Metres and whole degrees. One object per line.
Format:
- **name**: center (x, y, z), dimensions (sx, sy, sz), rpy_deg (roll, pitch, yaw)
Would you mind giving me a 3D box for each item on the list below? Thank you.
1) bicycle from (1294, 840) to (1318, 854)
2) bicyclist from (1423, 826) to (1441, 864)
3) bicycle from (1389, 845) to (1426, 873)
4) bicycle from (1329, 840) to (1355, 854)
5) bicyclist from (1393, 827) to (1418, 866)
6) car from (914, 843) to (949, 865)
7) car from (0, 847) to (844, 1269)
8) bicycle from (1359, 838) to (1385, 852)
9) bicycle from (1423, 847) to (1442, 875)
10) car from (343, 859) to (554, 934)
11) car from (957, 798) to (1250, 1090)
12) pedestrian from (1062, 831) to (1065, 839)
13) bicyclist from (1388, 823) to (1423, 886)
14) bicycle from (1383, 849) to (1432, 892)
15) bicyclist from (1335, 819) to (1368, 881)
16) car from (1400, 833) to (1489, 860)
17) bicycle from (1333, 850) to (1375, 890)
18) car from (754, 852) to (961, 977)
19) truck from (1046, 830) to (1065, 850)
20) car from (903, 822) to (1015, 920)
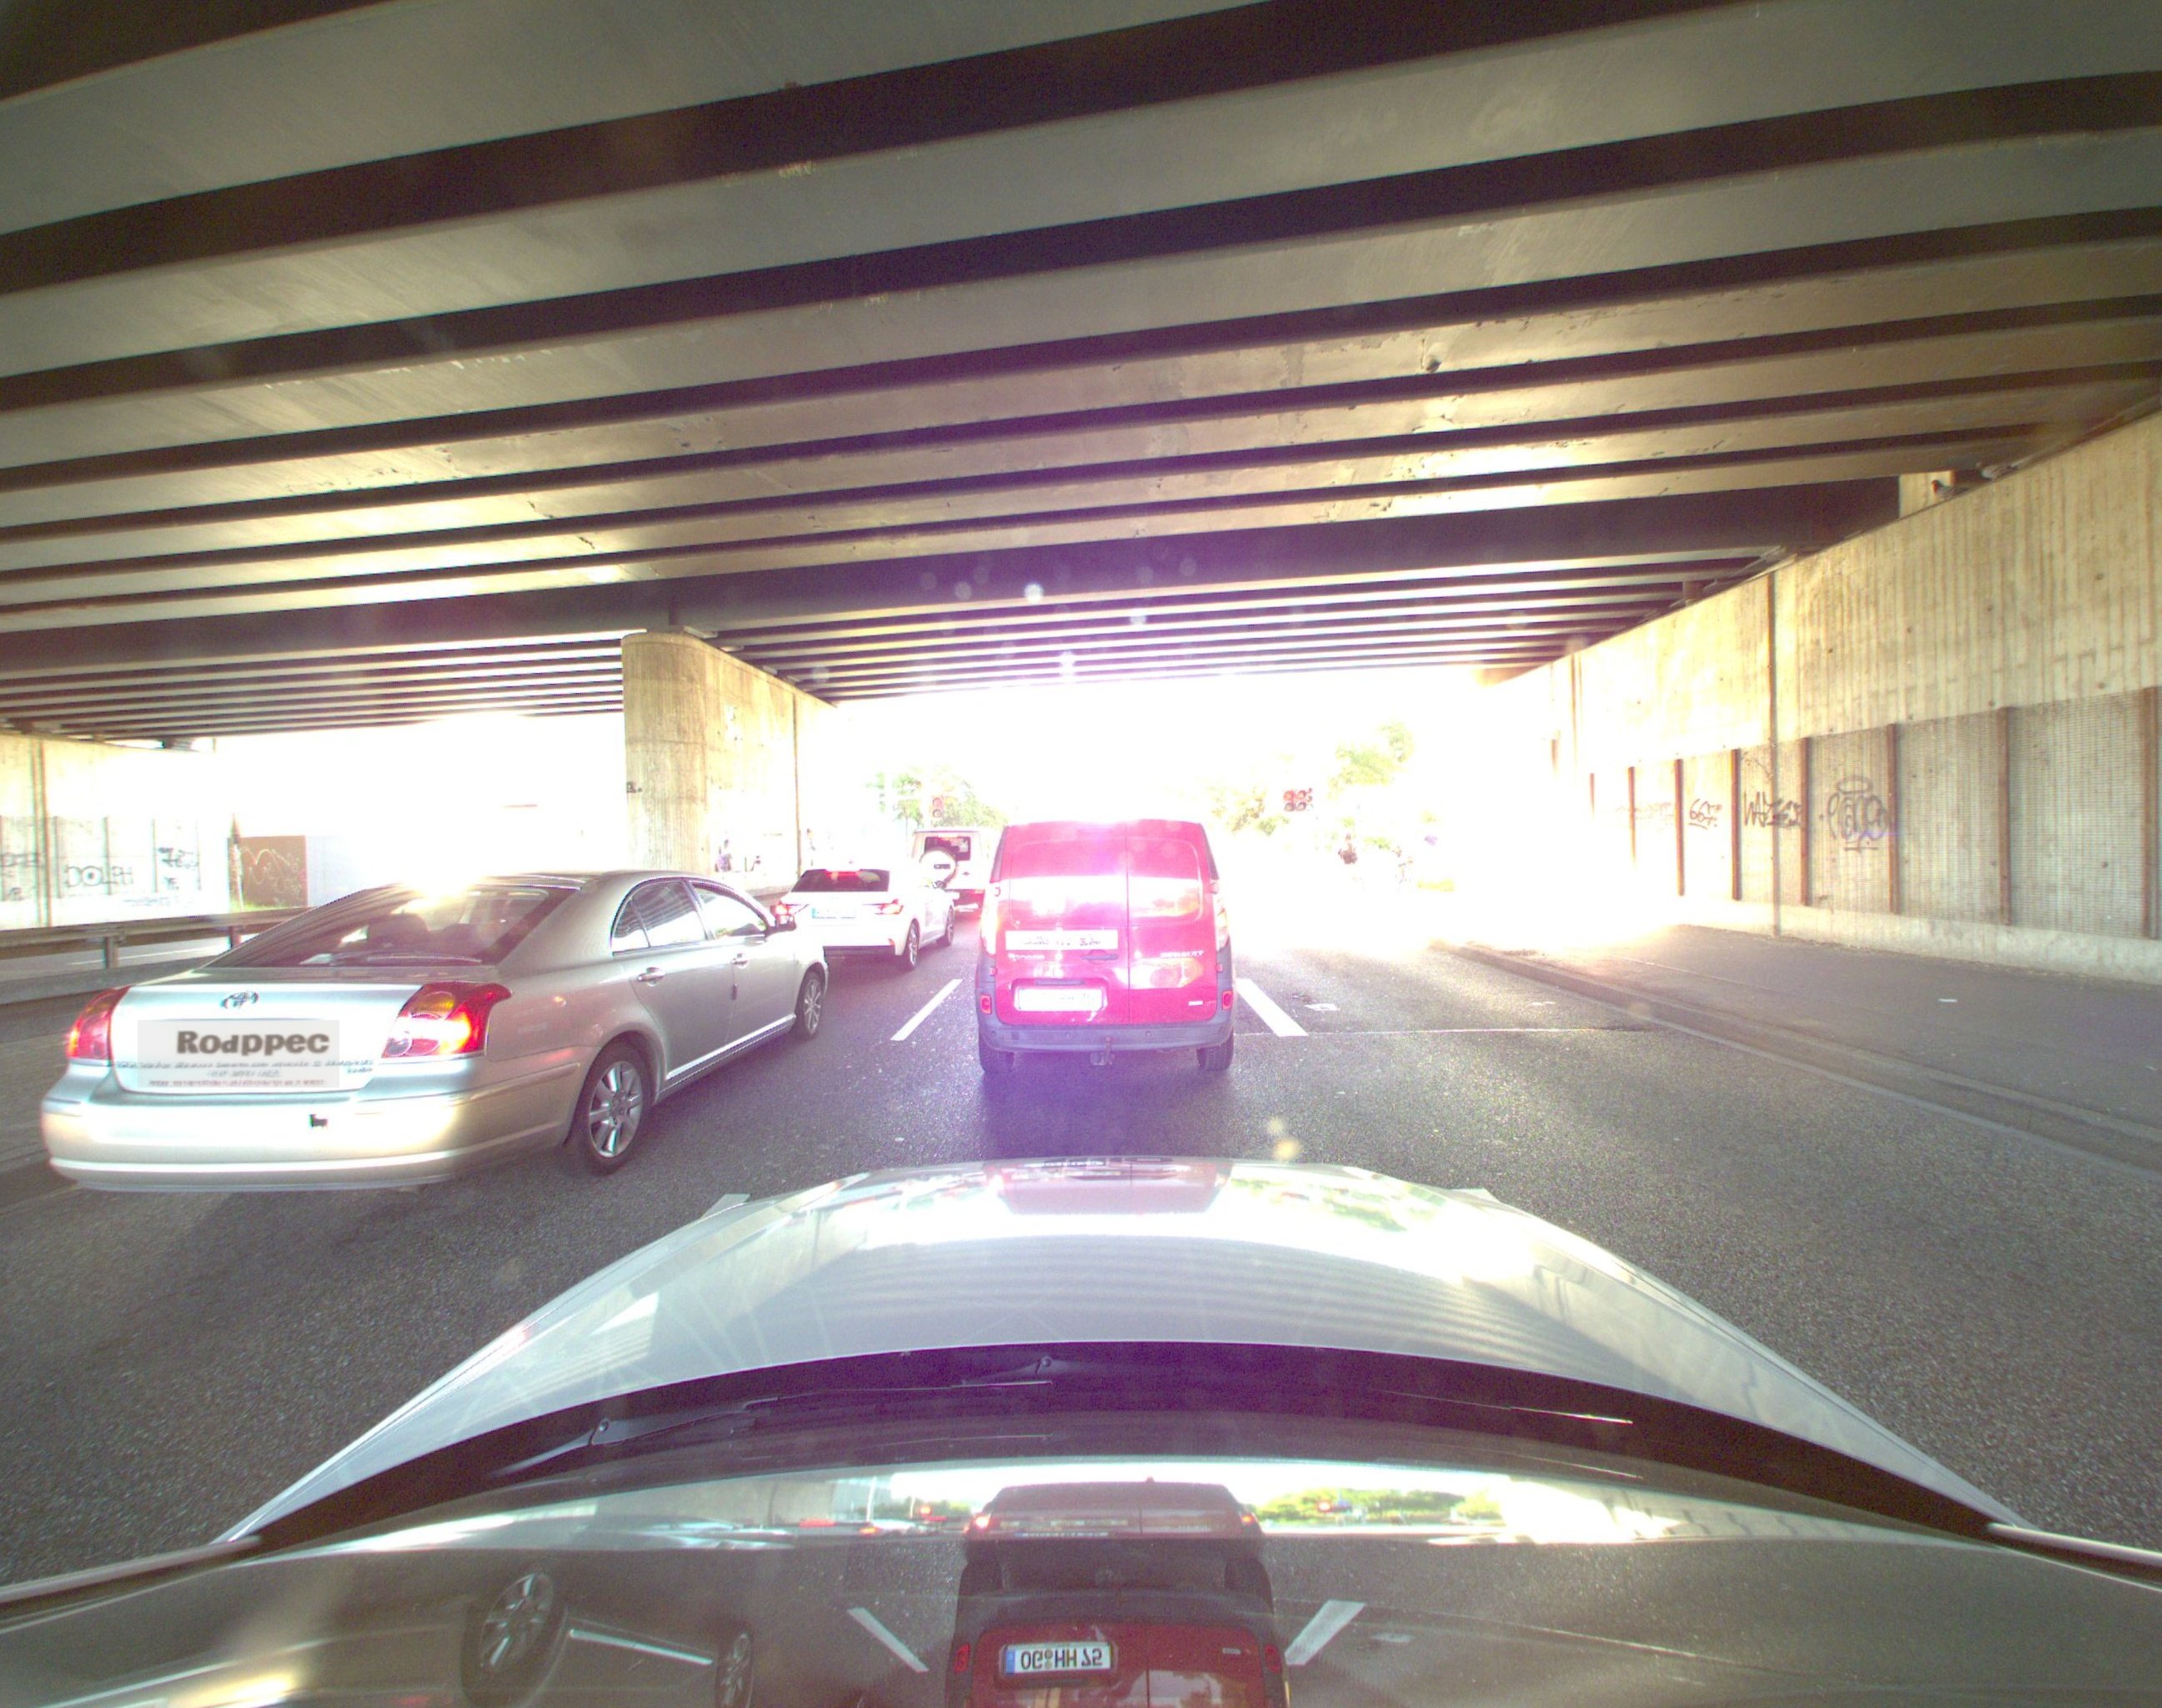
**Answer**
- **bicycle**: center (17.187, -0.503, 62.150), dimensions (1.734, 1.023, 0.595), rpy_deg (-1, -1, 10)
- **bicyclist**: center (13.817, -0.341, 32.089), dimensions (0.643, 1.480, 0.622), rpy_deg (-1, 1, 23)
- **bicycle**: center (12.293, 0.193, 30.744), dimensions (0.668, 1.023, 2.057), rpy_deg (0, -1, 3)
- **bicycle**: center (19.424, -0.532, 60.633), dimensions (1.734, 1.023, 0.595), rpy_deg (-1, -1, 10)
- **bicyclist**: center (12.284, -0.270, 30.821), dimensions (0.662, 1.474, 0.752), rpy_deg (0, -1, 3)
- **car**: center (-13.214, -0.052, 72.130), dimensions (1.817, 1.737, 4.634), rpy_deg (-4, 0, 4)
- **car**: center (-3.010, 0.735, 5.101), dimensions (1.727, 1.480, 4.319), rpy_deg (-1, 0, 0)
- **bicycle**: center (21.290, -0.633, 59.604), dimensions (1.733, 1.023, 0.596), rpy_deg (-1, -1, 13)
- **bicycle**: center (13.808, 0.261, 32.027), dimensions (0.661, 1.023, 1.760), rpy_deg (-1, 1, 23)
- **car**: center (-15.714, 0.980, 20.579), dimensions (1.817, 1.587, 4.187), rpy_deg (-2, 1, 4)
- **car**: center (0.201, 0.574, 7.045), dimensions (1.798, 1.794, 4.001), rpy_deg (0, -1, 2)
- **pedestrian**: center (-4.452, -4.965, 208.558), dimensions (0.736, 2.014, 0.638), rpy_deg (0, -1, 5)
- **bicyclist**: center (8.210, 0.010, 20.636), dimensions (0.589, 1.548, 0.769), rpy_deg (0, -1, 1)
- **bicycle**: center (8.240, 0.405, 20.622), dimensions (0.589, 1.023, 1.751), rpy_deg (0, -1, 2)
- **bicyclist**: center (7.266, -0.103, 21.884), dimensions (0.589, 1.613, 0.943), rpy_deg (0, -1, 2)
- **car**: center (21.446, -0.412, 48.193), dimensions (4.521, 1.514, 1.832), rpy_deg (0, -1, 9)
- **bicycle**: center (7.275, 0.422, 21.770), dimensions (0.589, 1.023, 1.751), rpy_deg (0, -1, 2)
- **car**: center (-2.953, 0.719, 11.606), dimensions (1.807, 1.438, 3.732), rpy_deg (-1, 1, 1)
- **truck**: center (-3.997, -2.214, 128.977), dimensions (2.399, 3.026, 6.661), rpy_deg (-4, 0, 3)
- **car**: center (-2.697, 0.366, 19.054), dimensions (1.794, 1.989, 4.591), rpy_deg (0, -1, 2)
